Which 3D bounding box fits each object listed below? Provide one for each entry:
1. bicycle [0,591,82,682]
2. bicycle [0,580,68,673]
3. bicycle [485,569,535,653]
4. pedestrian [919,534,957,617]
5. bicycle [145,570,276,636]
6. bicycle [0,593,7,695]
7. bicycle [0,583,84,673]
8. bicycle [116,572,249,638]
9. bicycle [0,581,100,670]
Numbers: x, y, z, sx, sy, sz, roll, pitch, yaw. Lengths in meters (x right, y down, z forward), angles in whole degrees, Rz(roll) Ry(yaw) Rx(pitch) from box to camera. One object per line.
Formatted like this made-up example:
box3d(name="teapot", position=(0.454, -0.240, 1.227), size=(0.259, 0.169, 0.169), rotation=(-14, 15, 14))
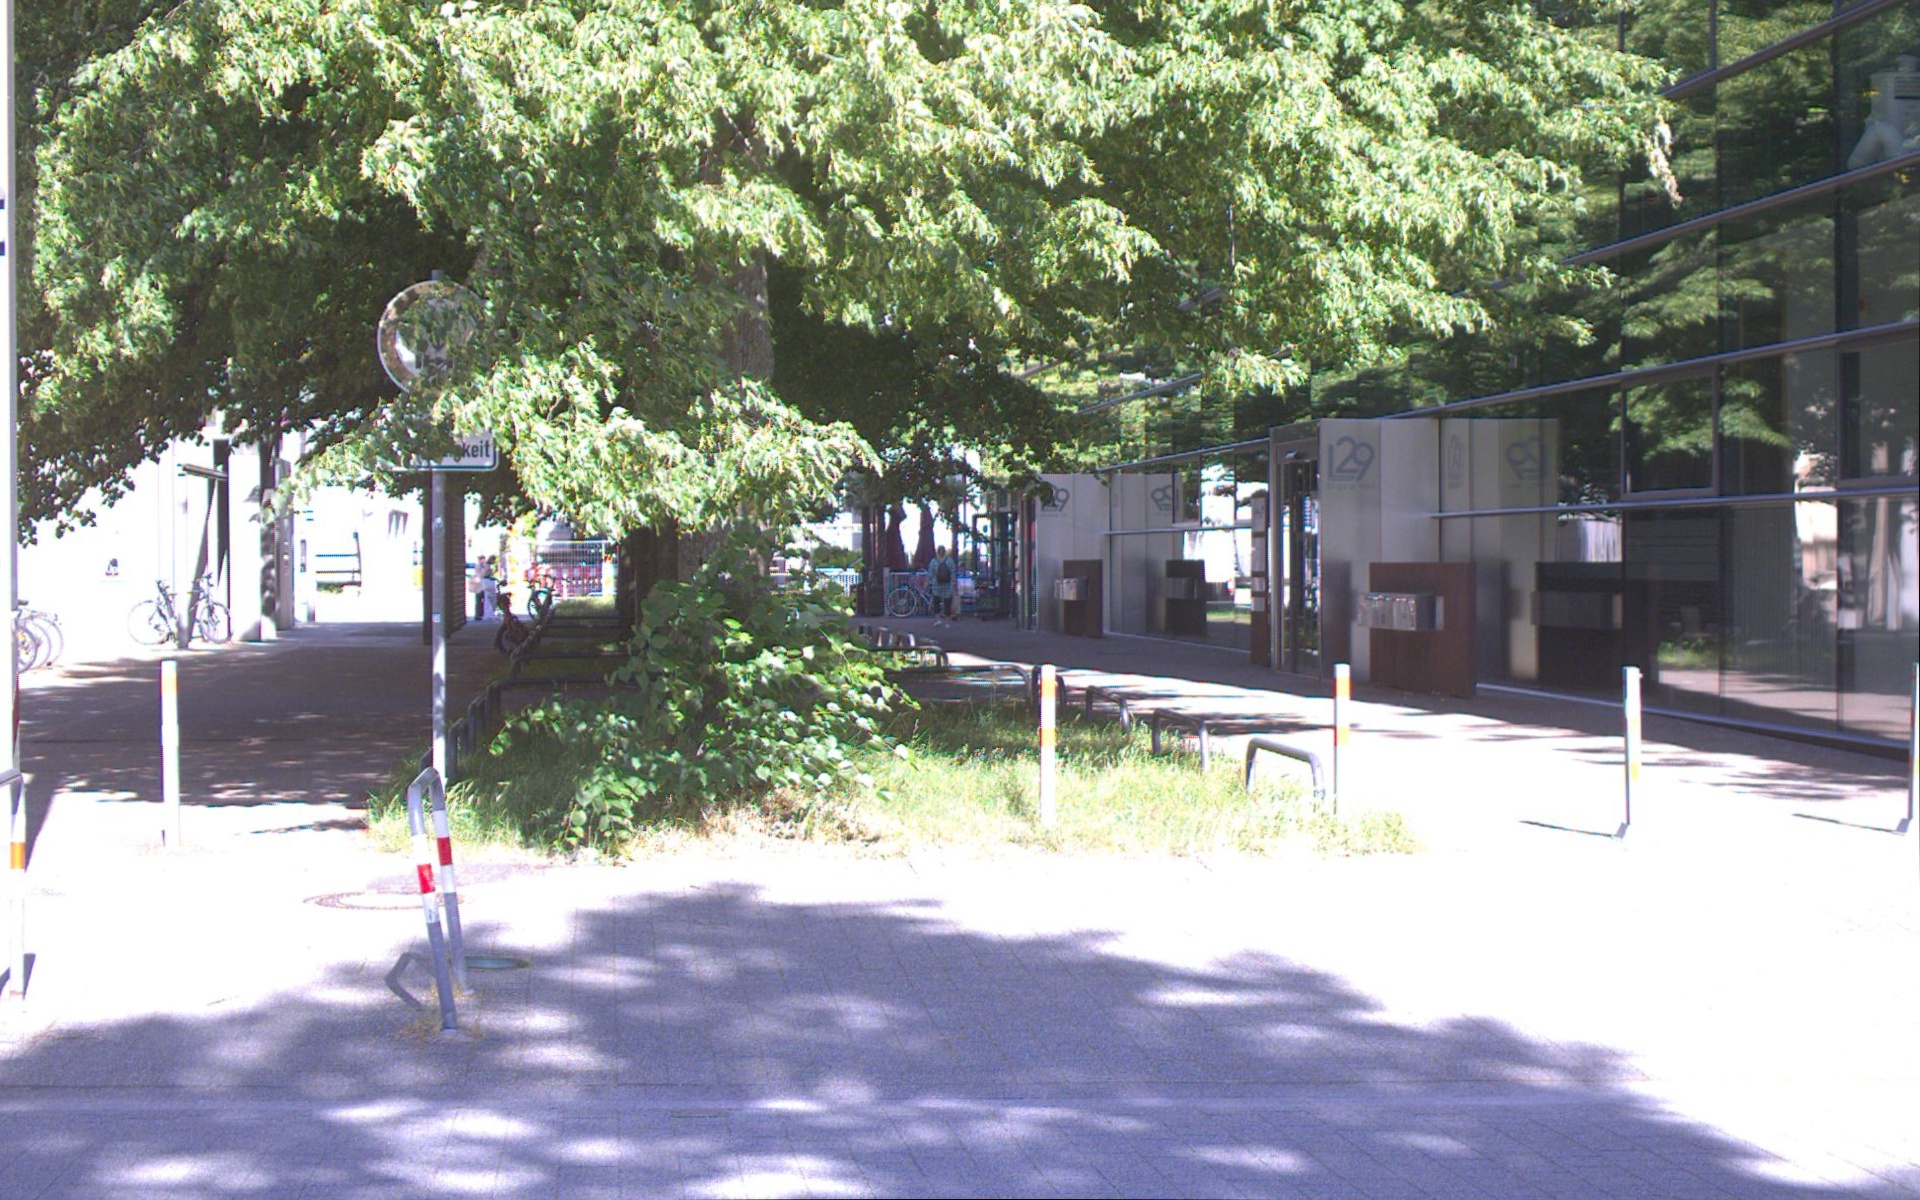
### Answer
box3d(name="bicycle", position=(-11.886, 0.426, 40.782), size=(2.800, 1.059, 0.719), rotation=(0, 1, -10))
box3d(name="bicycle", position=(-12.652, 0.333, 43.058), size=(2.800, 1.147, 0.719), rotation=(0, 1, -10))
box3d(name="bicycle", position=(-6.654, 0.150, 50.786), size=(0.619, 1.193, 2.132), rotation=(0, 1, -11))
box3d(name="pedestrian", position=(-0.411, -0.471, 64.577), size=(0.716, 1.545, 0.690), rotation=(0, 1, 1))
box3d(name="bicycle", position=(-12.340, 0.046, 56.619), size=(2.057, 1.062, 0.507), rotation=(0, 1, -3))
box3d(name="bicycle", position=(-11.501, 0.462, 36.152), size=(2.800, 1.059, 0.719), rotation=(0, 1, -10))
box3d(name="bicycle", position=(-12.766, 0.356, 44.471), size=(2.730, 1.147, 0.719), rotation=(0, 1, -10))
box3d(name="bicycle", position=(-12.641, 0.082, 55.901), size=(2.057, 1.062, 0.507), rotation=(0, 1, -3))
box3d(name="bicycle", position=(-12.761, 0.329, 45.264), size=(2.730, 1.147, 0.719), rotation=(0, 1, -10))
